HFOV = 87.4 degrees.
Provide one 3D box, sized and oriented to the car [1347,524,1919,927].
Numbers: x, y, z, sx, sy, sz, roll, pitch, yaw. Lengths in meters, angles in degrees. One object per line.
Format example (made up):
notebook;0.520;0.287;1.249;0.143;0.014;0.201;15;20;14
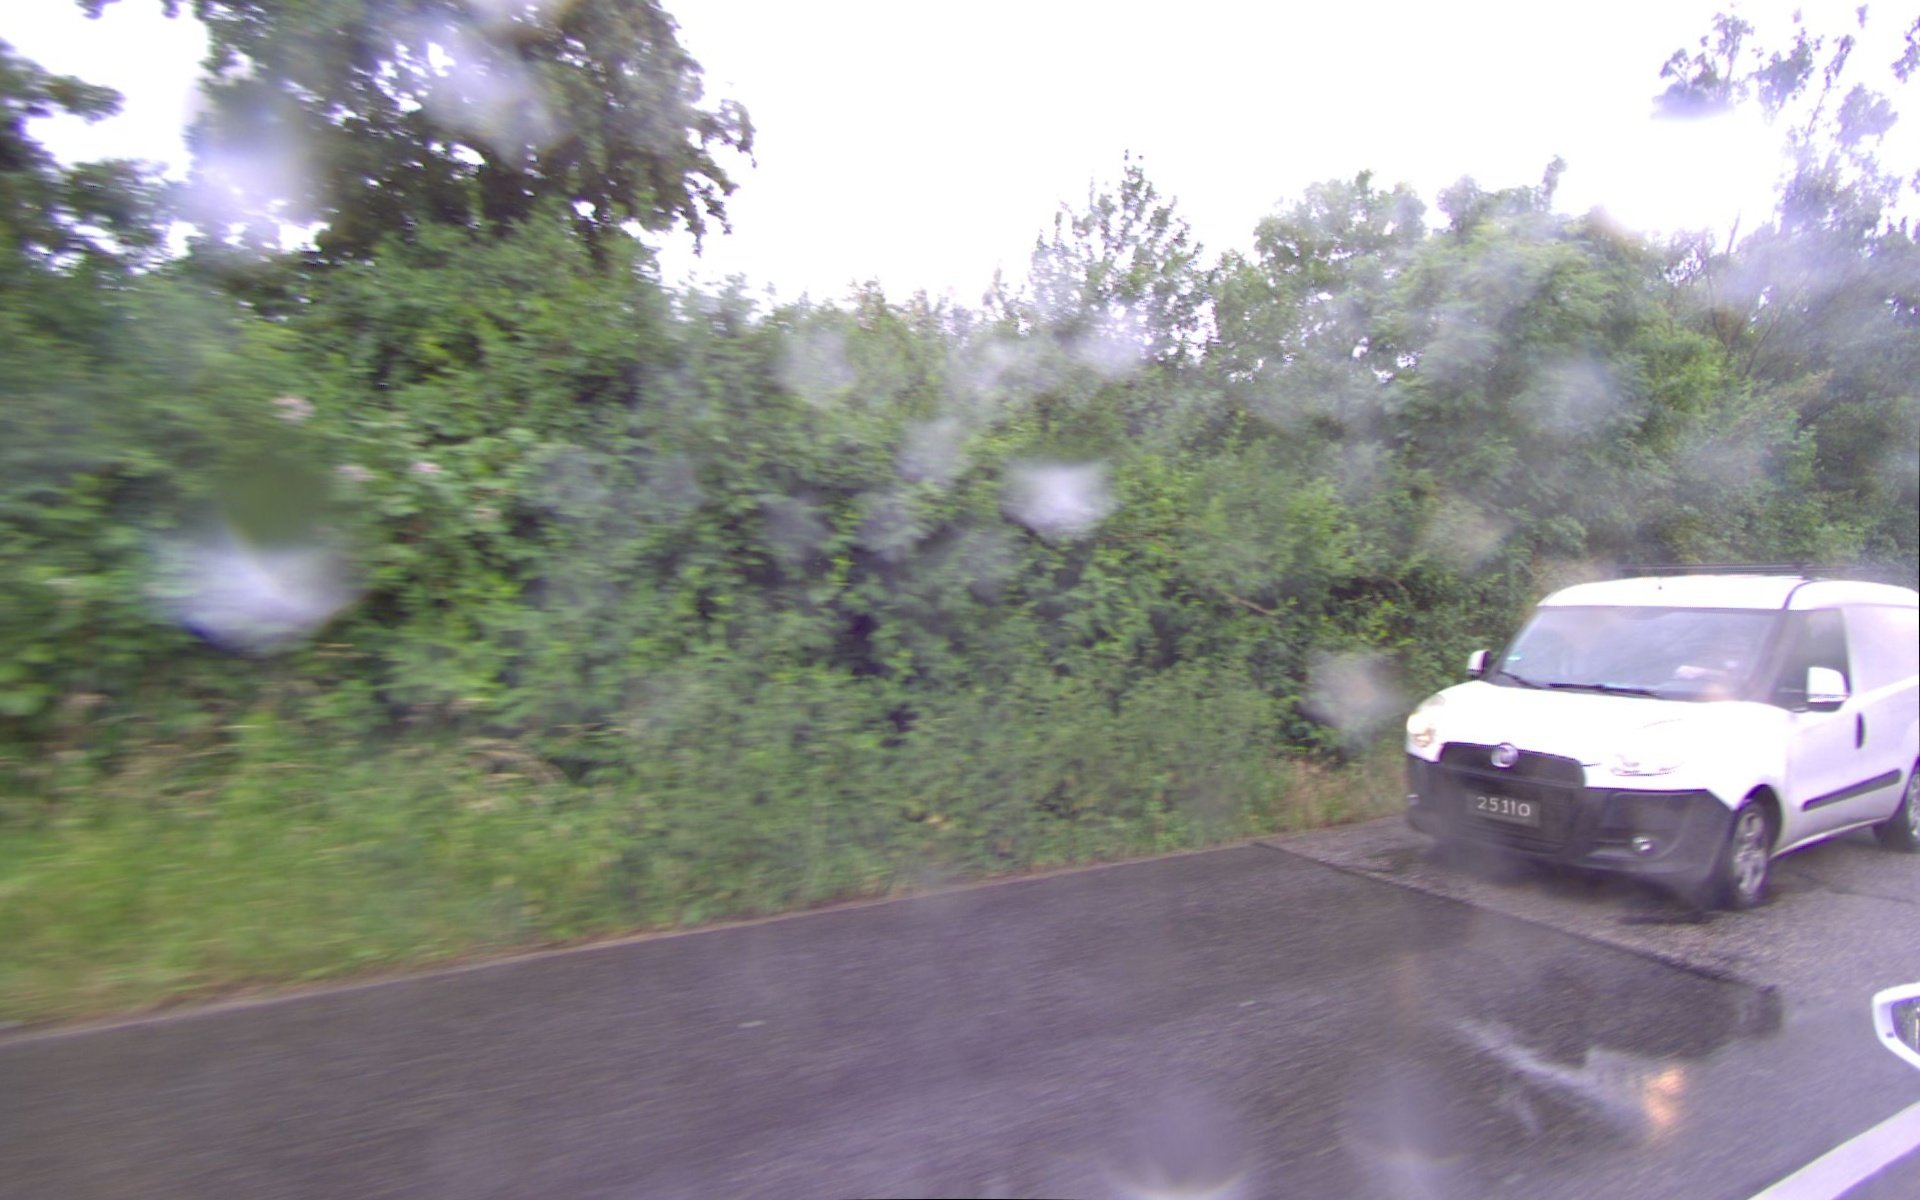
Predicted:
car;4.657;0.624;6.557;4.261;1.856;1.813;2;0;-33
